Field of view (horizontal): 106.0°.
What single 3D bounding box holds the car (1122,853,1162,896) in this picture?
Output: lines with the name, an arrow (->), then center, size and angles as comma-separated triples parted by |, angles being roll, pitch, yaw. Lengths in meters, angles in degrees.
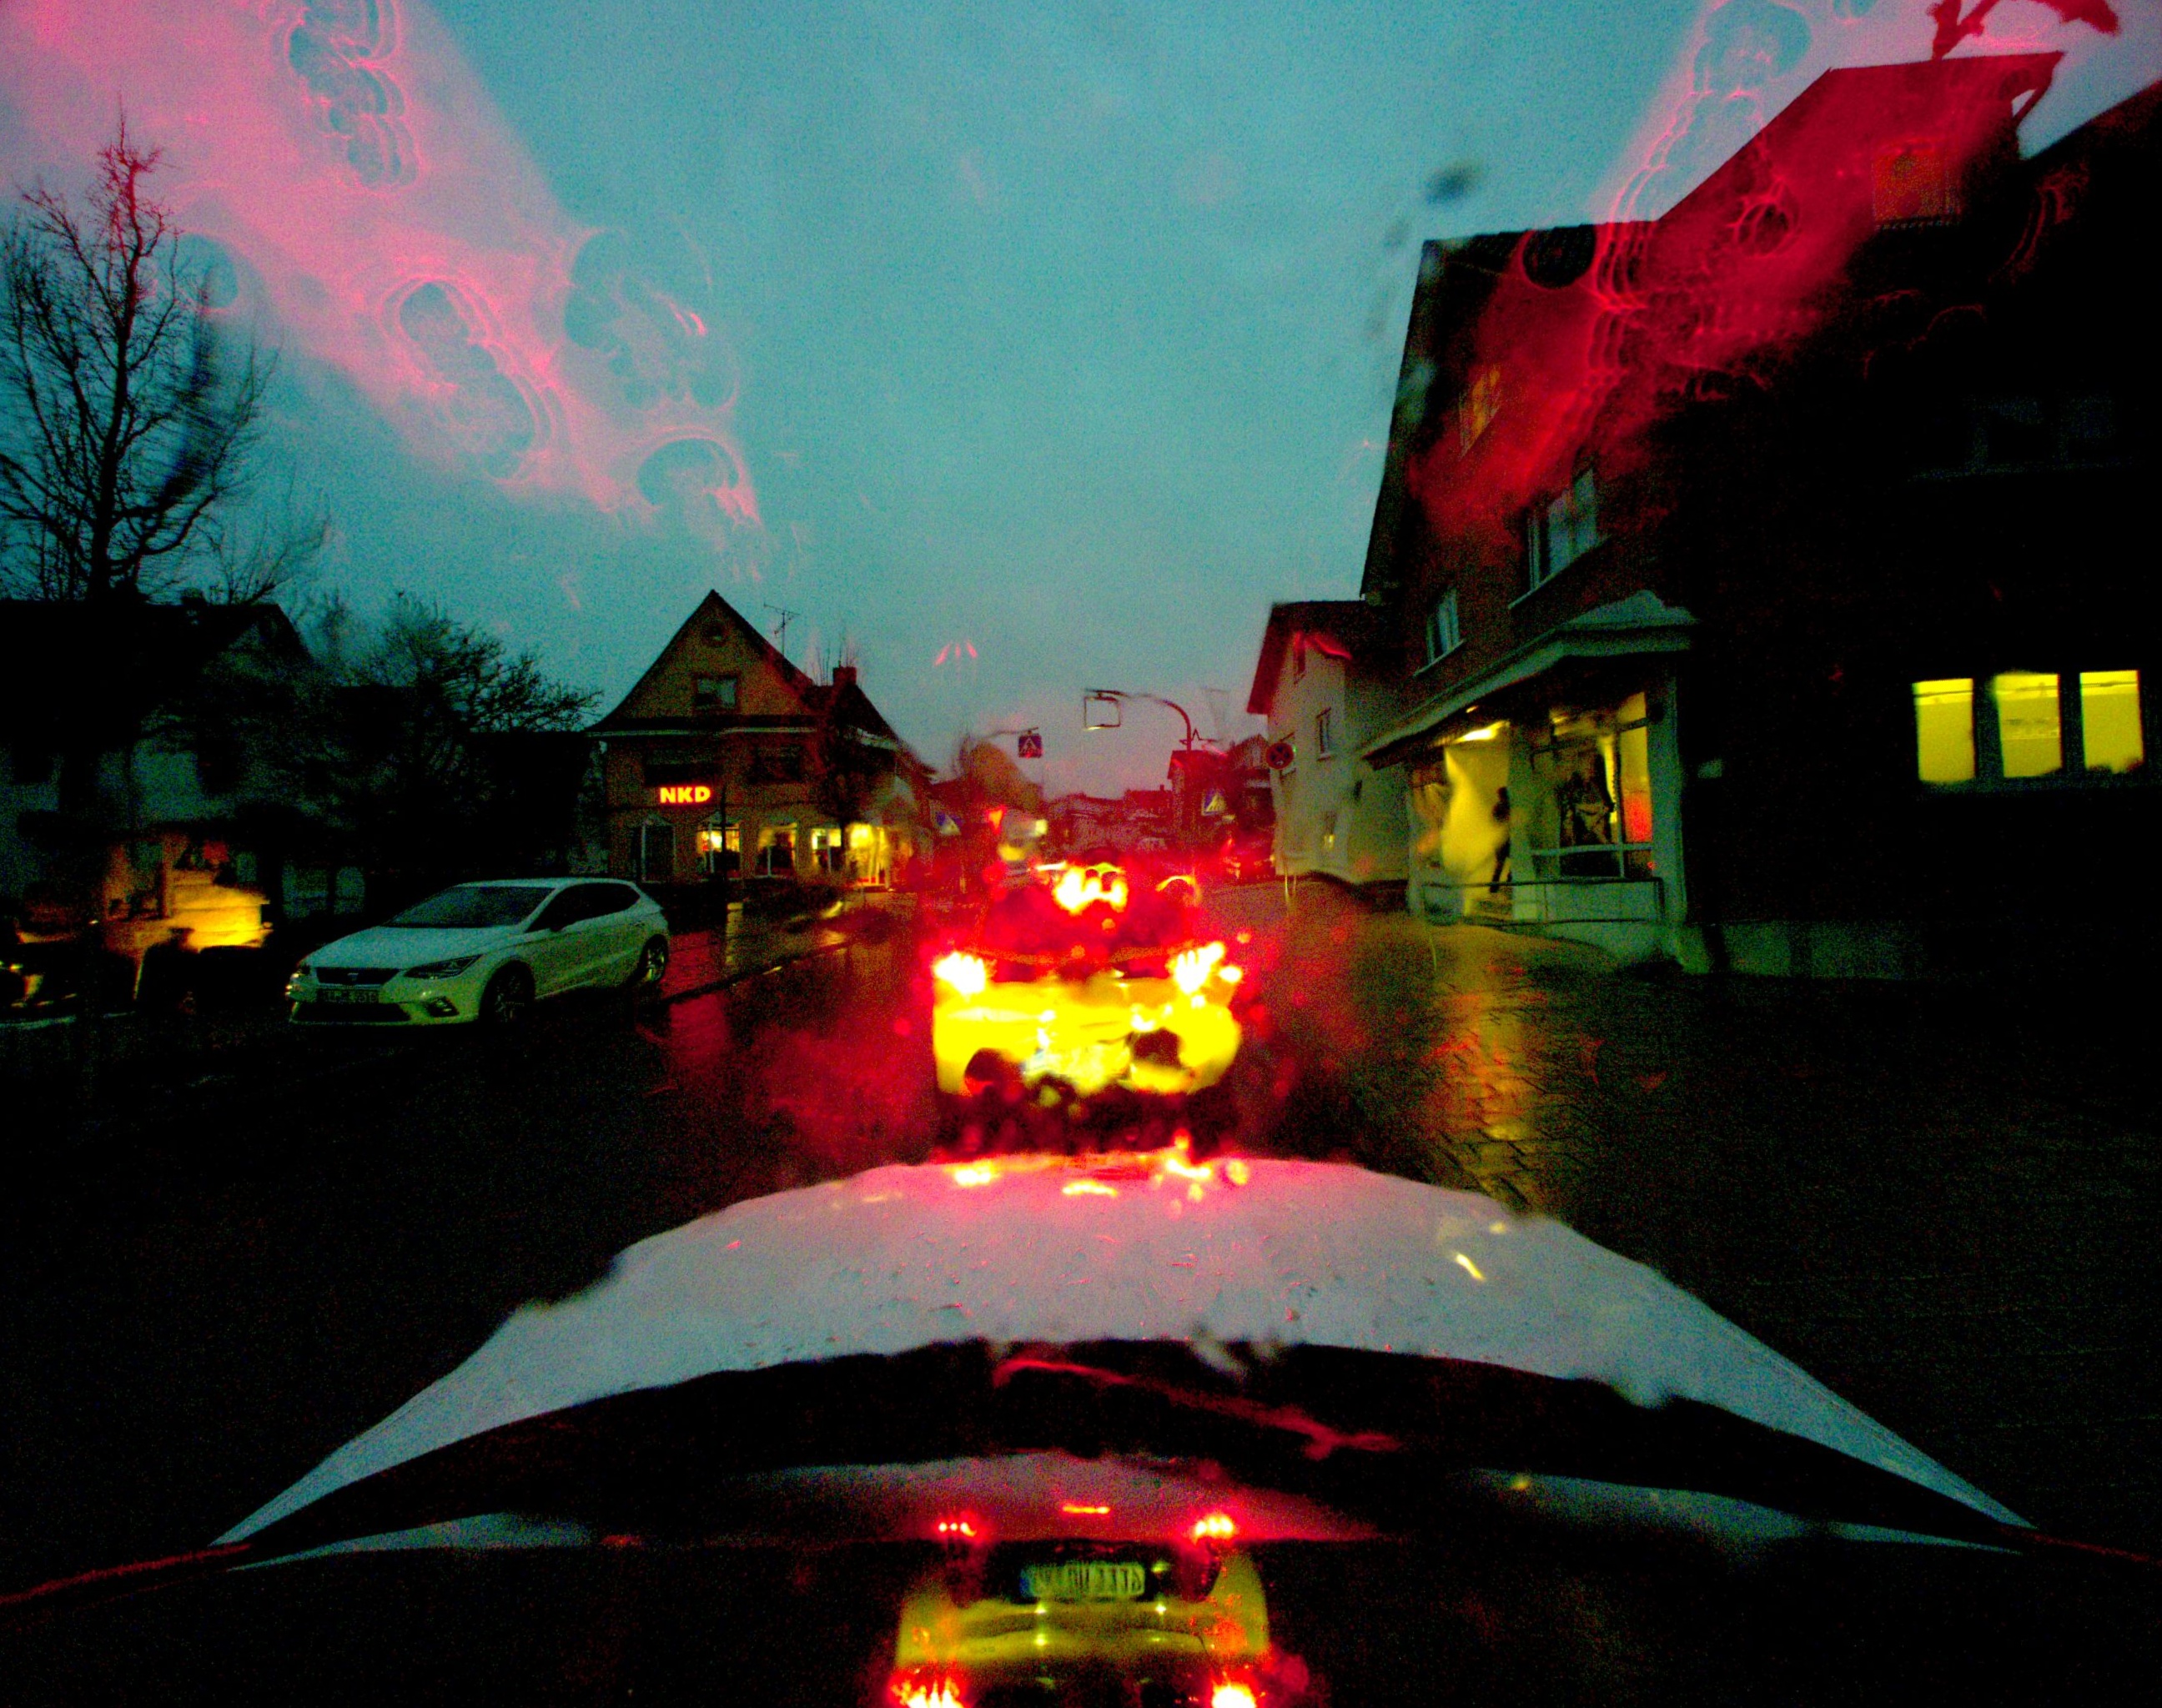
car -> 3.102, 0.990, 41.968 | 1.637, 2.013, 3.999 | -3, 0, -1

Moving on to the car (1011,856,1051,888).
car -> -2.920, 1.022, 48.331 | 1.986, 1.752, 4.362 | -1, 0, 1

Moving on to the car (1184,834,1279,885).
car -> 6.121, 0.224, 33.413 | 3.679, 2.014, 1.691 | -1, -1, 5

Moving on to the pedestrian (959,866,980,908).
pedestrian -> -3.353, 0.978, 24.514 | 0.551, 1.233, 0.433 | -1, -1, -2

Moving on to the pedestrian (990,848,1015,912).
pedestrian -> -2.358, 0.767, 24.480 | 0.701, 1.876, 0.616 | 0, 0, -4

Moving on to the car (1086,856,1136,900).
car -> 1.274, 0.902, 32.944 | 1.819, 1.601, 4.586 | -1, 0, 4

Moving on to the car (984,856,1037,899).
car -> -3.502, 1.147, 41.185 | 1.985, 2.013, 4.366 | -1, 0, 4

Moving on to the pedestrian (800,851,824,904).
pedestrian -> -9.012, 0.789, 27.313 | 0.587, 1.742, 0.683 | -1, -1, -6

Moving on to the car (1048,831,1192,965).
car -> 0.605, 0.571, 12.255 | 1.790, 1.662, 4.003 | -1, -1, 3

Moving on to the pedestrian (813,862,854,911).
pedestrian -> -7.768, 1.010, 25.578 | 0.886, 1.417, 0.777 | 5, -1, 6

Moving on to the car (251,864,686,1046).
car -> -6.224, 0.889, 8.988 | 1.663, 1.516, 4.002 | 0, 0, 2

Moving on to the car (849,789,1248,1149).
car -> 0.016, 0.576, 6.460 | 1.984, 1.795, 4.654 | -2, 0, 5

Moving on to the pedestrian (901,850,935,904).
pedestrian -> -5.324, 0.742, 26.667 | 0.972, 1.742, 0.960 | 0, 0, -5

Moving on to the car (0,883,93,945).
car -> -29.195, 1.604, 21.403 | 3.894, 1.519, 1.608 | -1, 0, -12

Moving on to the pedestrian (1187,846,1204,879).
pedestrian -> 7.118, 0.514, 50.767 | 1.011, 2.014, 1.277 | -1, -1, 7

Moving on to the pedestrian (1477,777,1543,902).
pedestrian -> 6.681, -0.215, 12.717 | 0.659, 1.888, 0.826 | -1, -1, 8
